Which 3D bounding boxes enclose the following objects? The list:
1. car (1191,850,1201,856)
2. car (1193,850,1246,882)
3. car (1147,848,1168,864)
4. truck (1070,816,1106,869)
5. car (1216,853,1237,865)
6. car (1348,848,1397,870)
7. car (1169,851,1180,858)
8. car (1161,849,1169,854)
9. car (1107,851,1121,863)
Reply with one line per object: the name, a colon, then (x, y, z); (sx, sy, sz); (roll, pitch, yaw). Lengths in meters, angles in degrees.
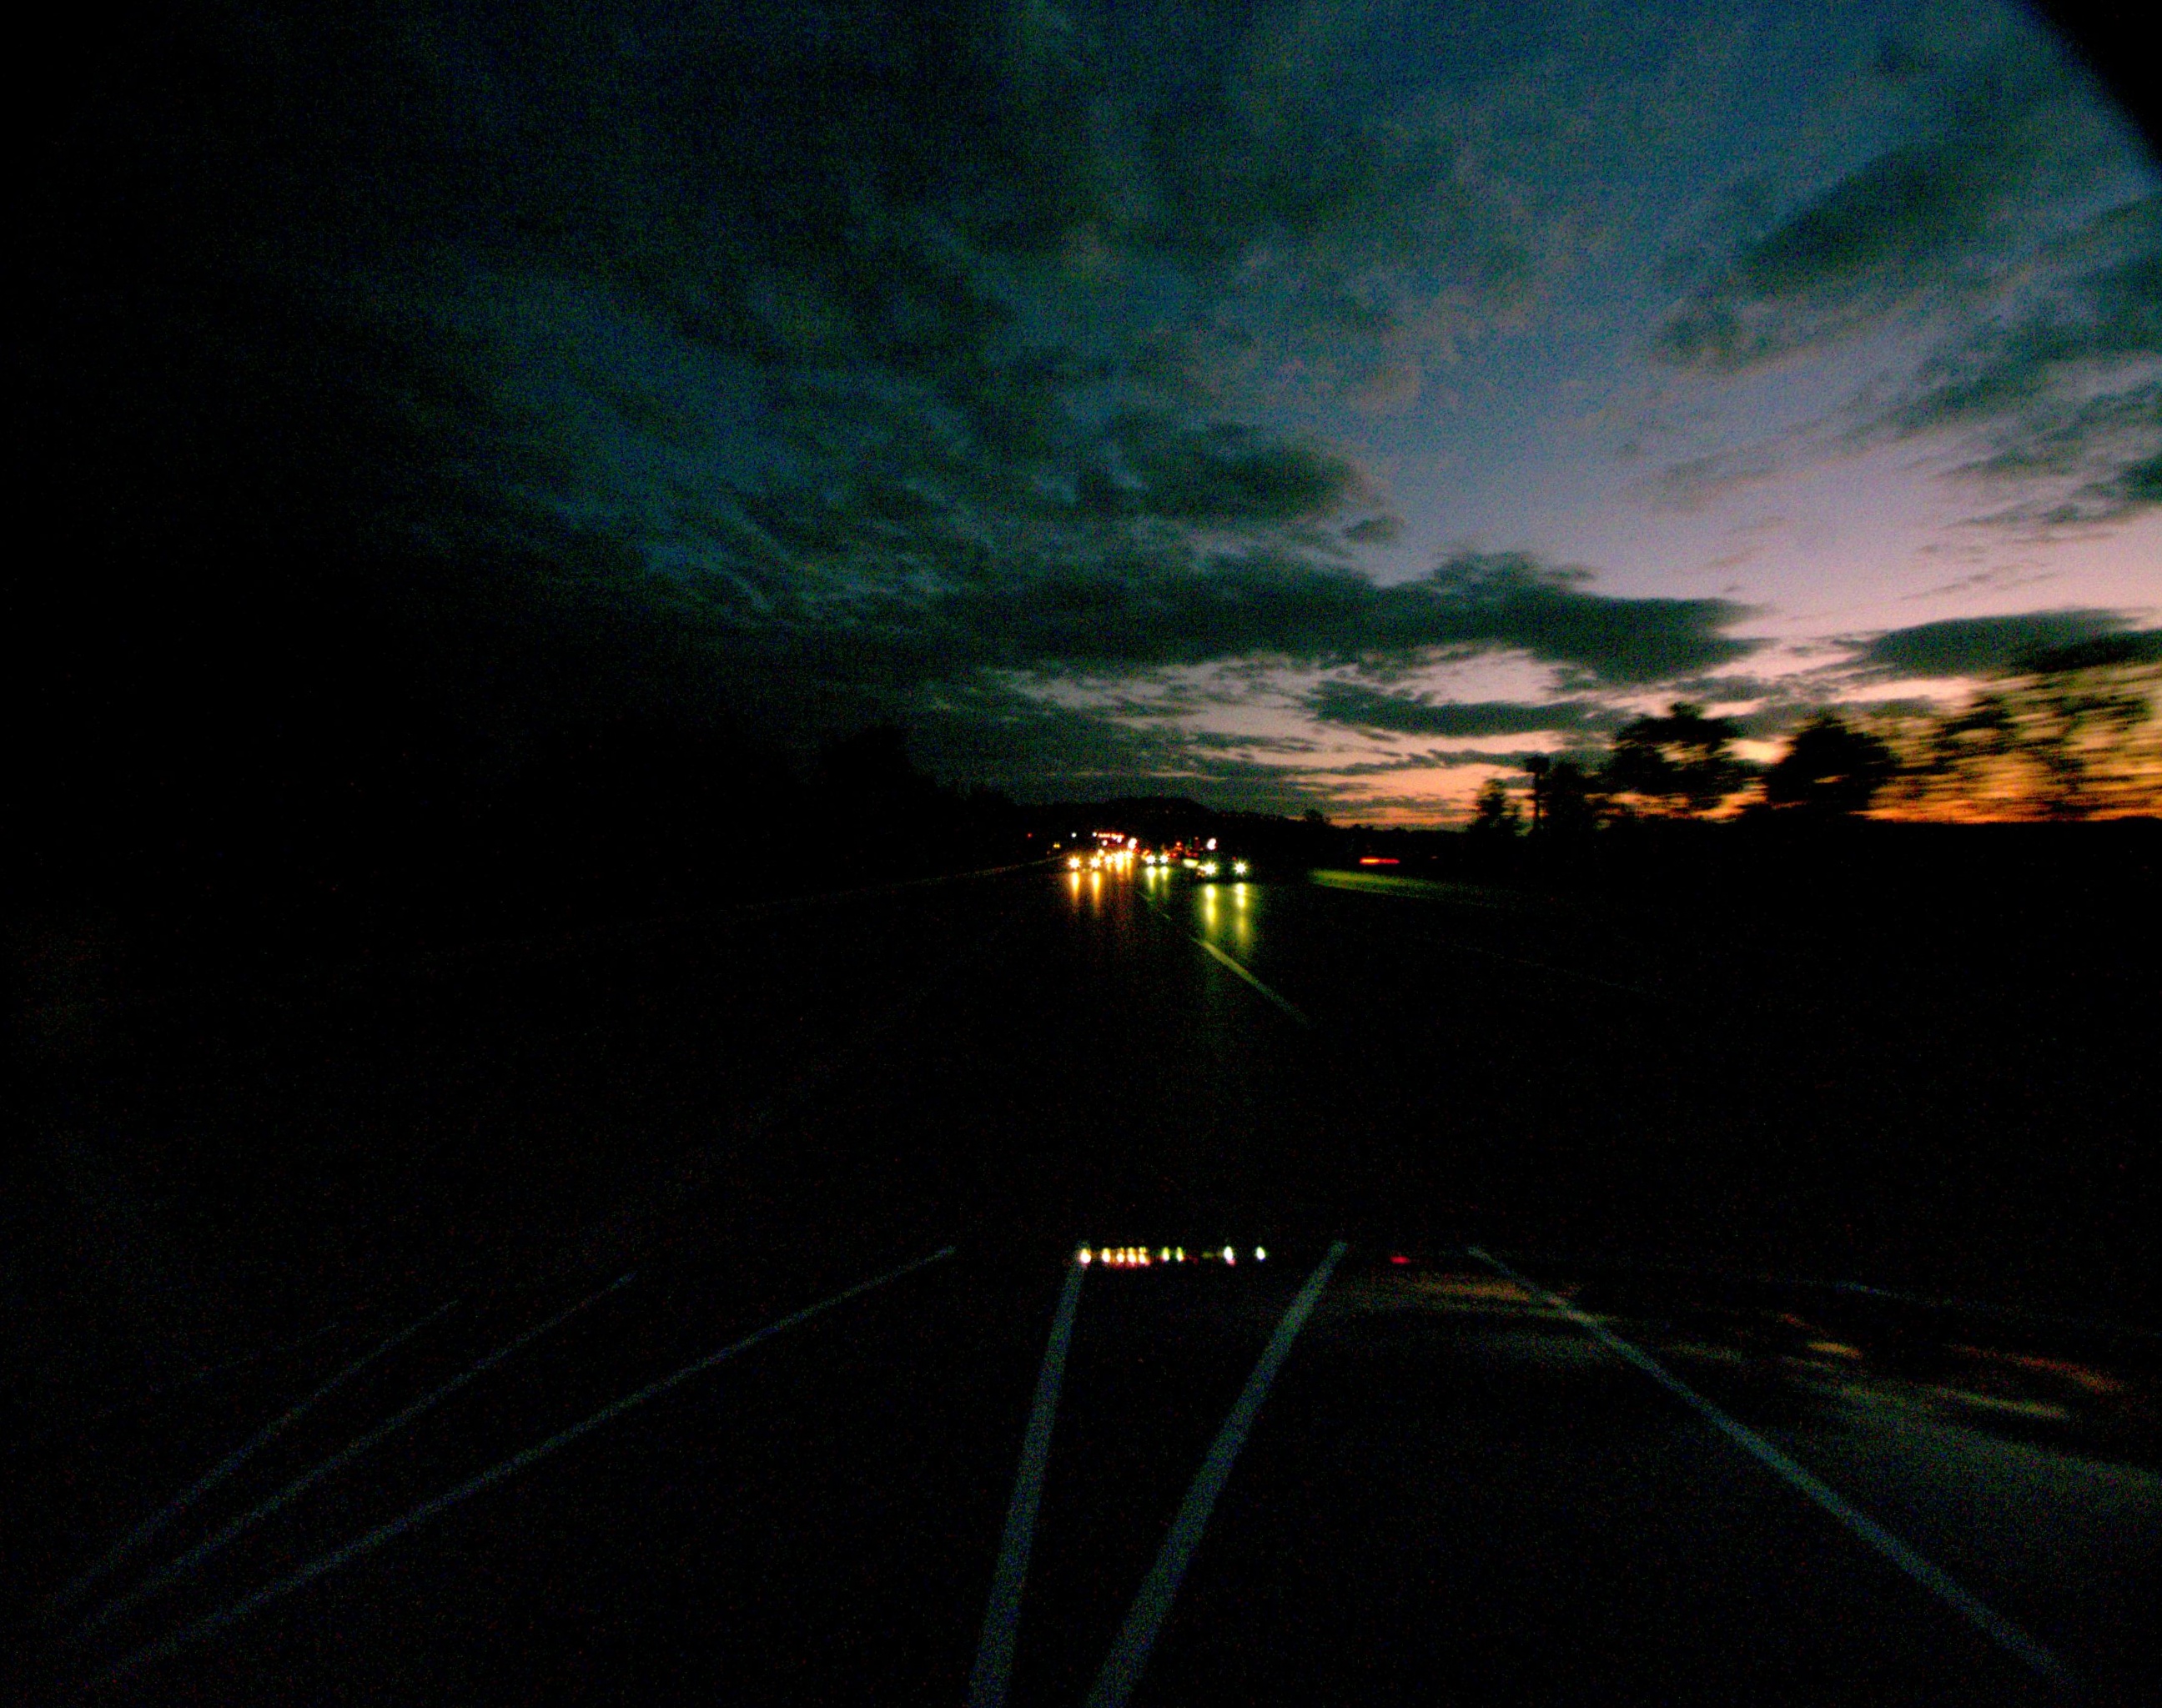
car: (26.180, -0.165, 173.625); (1.722, 1.171, 3.999); (-2, 1, 1)
car: (7.253, 0.587, 40.188); (1.819, 1.429, 5.394); (-2, 1, 0)
car: (8.515, 0.241, 84.511); (1.819, 1.638, 4.856); (-2, 1, 0)
truck: (0.711, -1.011, 73.922); (3.012, 4.570, 12.578); (-2, 0, 1)
car: (16.743, 0.547, 87.605); (1.707, 1.241, 3.999); (-2, 1, 1)
car: (19.975, 0.318, 52.240); (1.748, 1.354, 4.111); (-2, 1, 1)
car: (18.260, 0.087, 148.519); (1.658, 1.282, 3.645); (-2, 1, 1)
car: (22.709, -0.768, 205.759); (1.936, 1.171, 3.999); (-2, 1, 1)
car: (4.676, 0.370, 106.871); (1.802, 1.531, 4.159); (-2, 1, 1)
